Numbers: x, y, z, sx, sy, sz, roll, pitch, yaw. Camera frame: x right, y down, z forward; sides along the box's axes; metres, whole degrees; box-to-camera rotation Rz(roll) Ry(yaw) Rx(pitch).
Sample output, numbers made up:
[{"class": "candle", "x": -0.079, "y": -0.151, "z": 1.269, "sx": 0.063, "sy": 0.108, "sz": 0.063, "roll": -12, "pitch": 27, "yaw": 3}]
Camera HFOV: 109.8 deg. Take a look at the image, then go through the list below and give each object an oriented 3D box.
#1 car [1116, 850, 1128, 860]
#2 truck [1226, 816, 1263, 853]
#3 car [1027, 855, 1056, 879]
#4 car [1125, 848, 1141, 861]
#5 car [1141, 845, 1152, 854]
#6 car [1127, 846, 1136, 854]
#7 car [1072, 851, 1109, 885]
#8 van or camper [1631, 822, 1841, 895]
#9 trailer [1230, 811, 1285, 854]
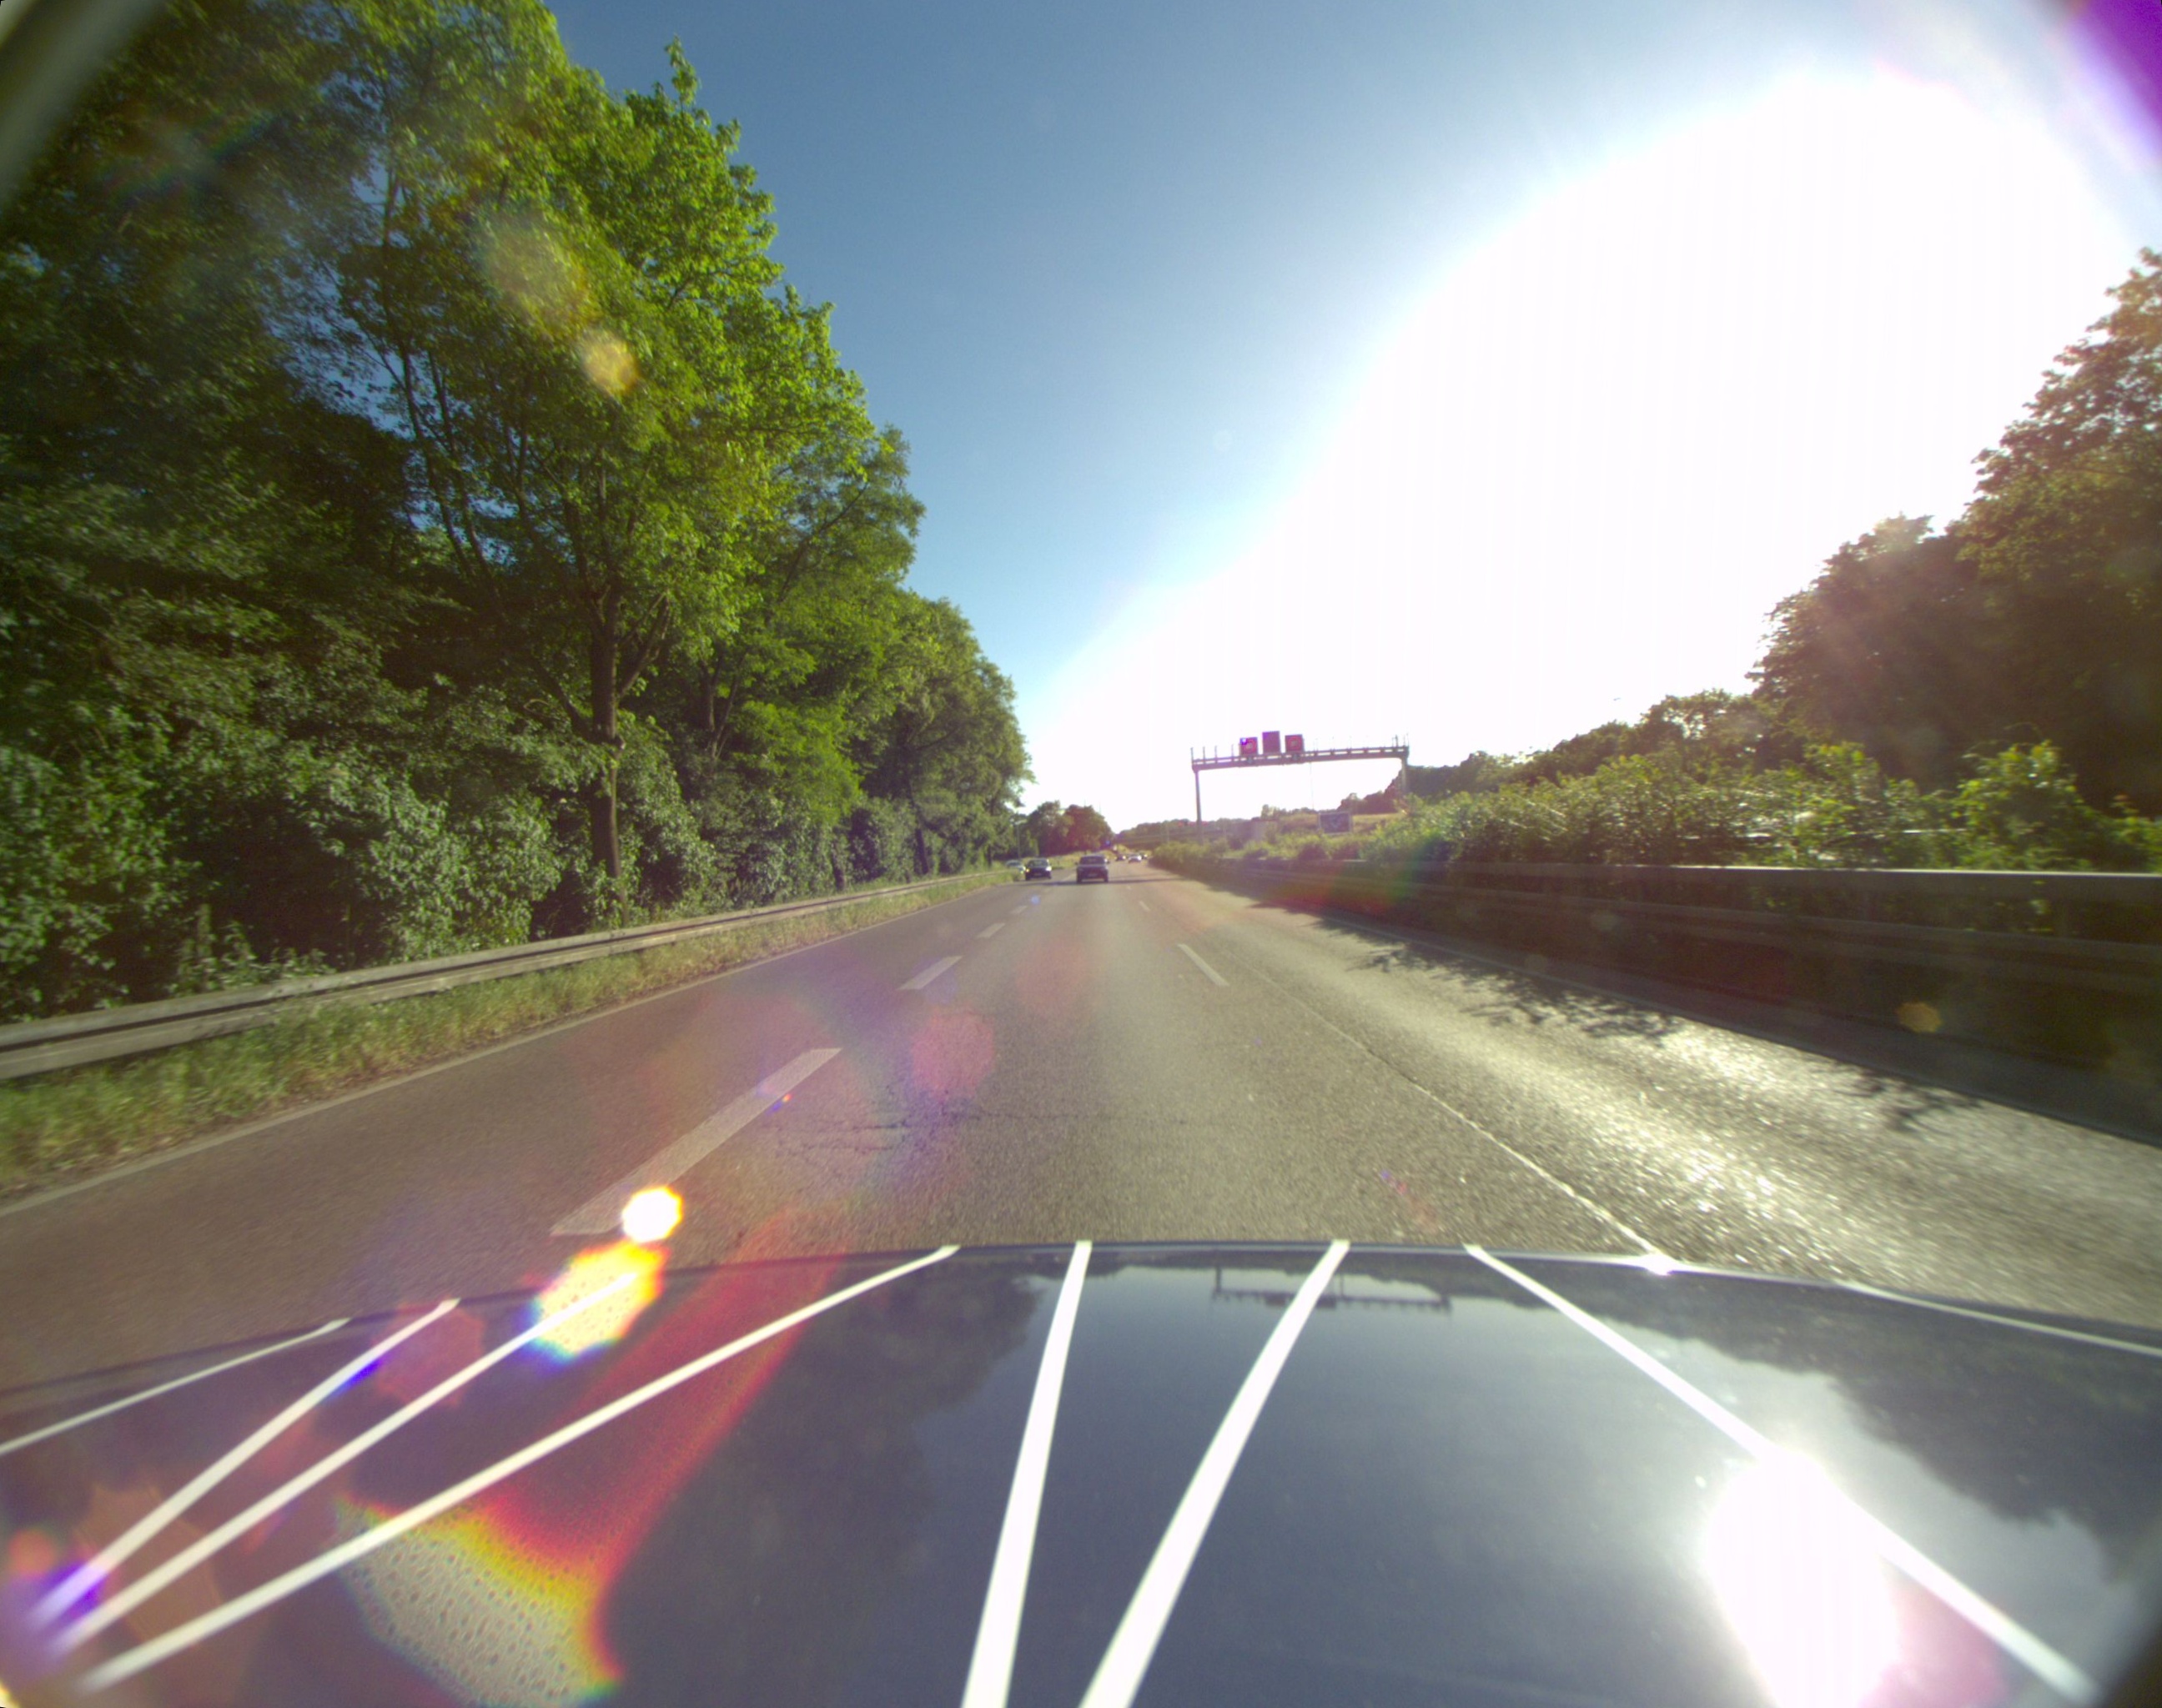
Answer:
[{"class": "car", "x": 7.575, "y": 0.200, "z": 141.152, "sx": 1.998, "sy": 1.740, "sz": 4.373, "roll": -2, "pitch": 1, "yaw": 2}, {"class": "truck", "x": 18.456, "y": -2.175, "z": 85.966, "sx": 3.010, "sy": 3.890, "sz": 5.901, "roll": -2, "pitch": 1, "yaw": 3}, {"class": "car", "x": -2.715, "y": 0.873, "z": 52.900, "sx": 1.712, "sy": 1.565, "sz": 3.422, "roll": -2, "pitch": 1, "yaw": 2}, {"class": "car", "x": 7.851, "y": 0.026, "z": 114.744, "sx": 1.998, "sy": 1.793, "sz": 3.999, "roll": -2, "pitch": 1, "yaw": 0}, {"class": "car", "x": 12.922, "y": -0.884, "z": 150.134, "sx": 1.998, "sy": 1.740, "sz": 4.374, "roll": -2, "pitch": 1, "yaw": 4}, {"class": "car", "x": 11.705, "y": -1.031, "z": 176.113, "sx": 1.998, "sy": 1.740, "sz": 4.374, "roll": -2, "pitch": 1, "yaw": 4}, {"class": "car", "x": 0.543, "y": 0.709, "z": 40.821, "sx": 1.712, "sy": 1.565, "sz": 3.422, "roll": -5, "pitch": 1, "yaw": 3}, {"class": "van or camper", "x": 20.966, "y": 0.118, "z": 24.800, "sx": 1.881, "sy": 2.002, "sz": 5.939, "roll": -3, "pitch": 0, "yaw": 3}, {"class": "trailer", "x": 18.120, "y": -2.087, "z": 79.082, "sx": 3.029, "sy": 3.965, "sz": 14.027, "roll": -2, "pitch": 1, "yaw": 3}]
